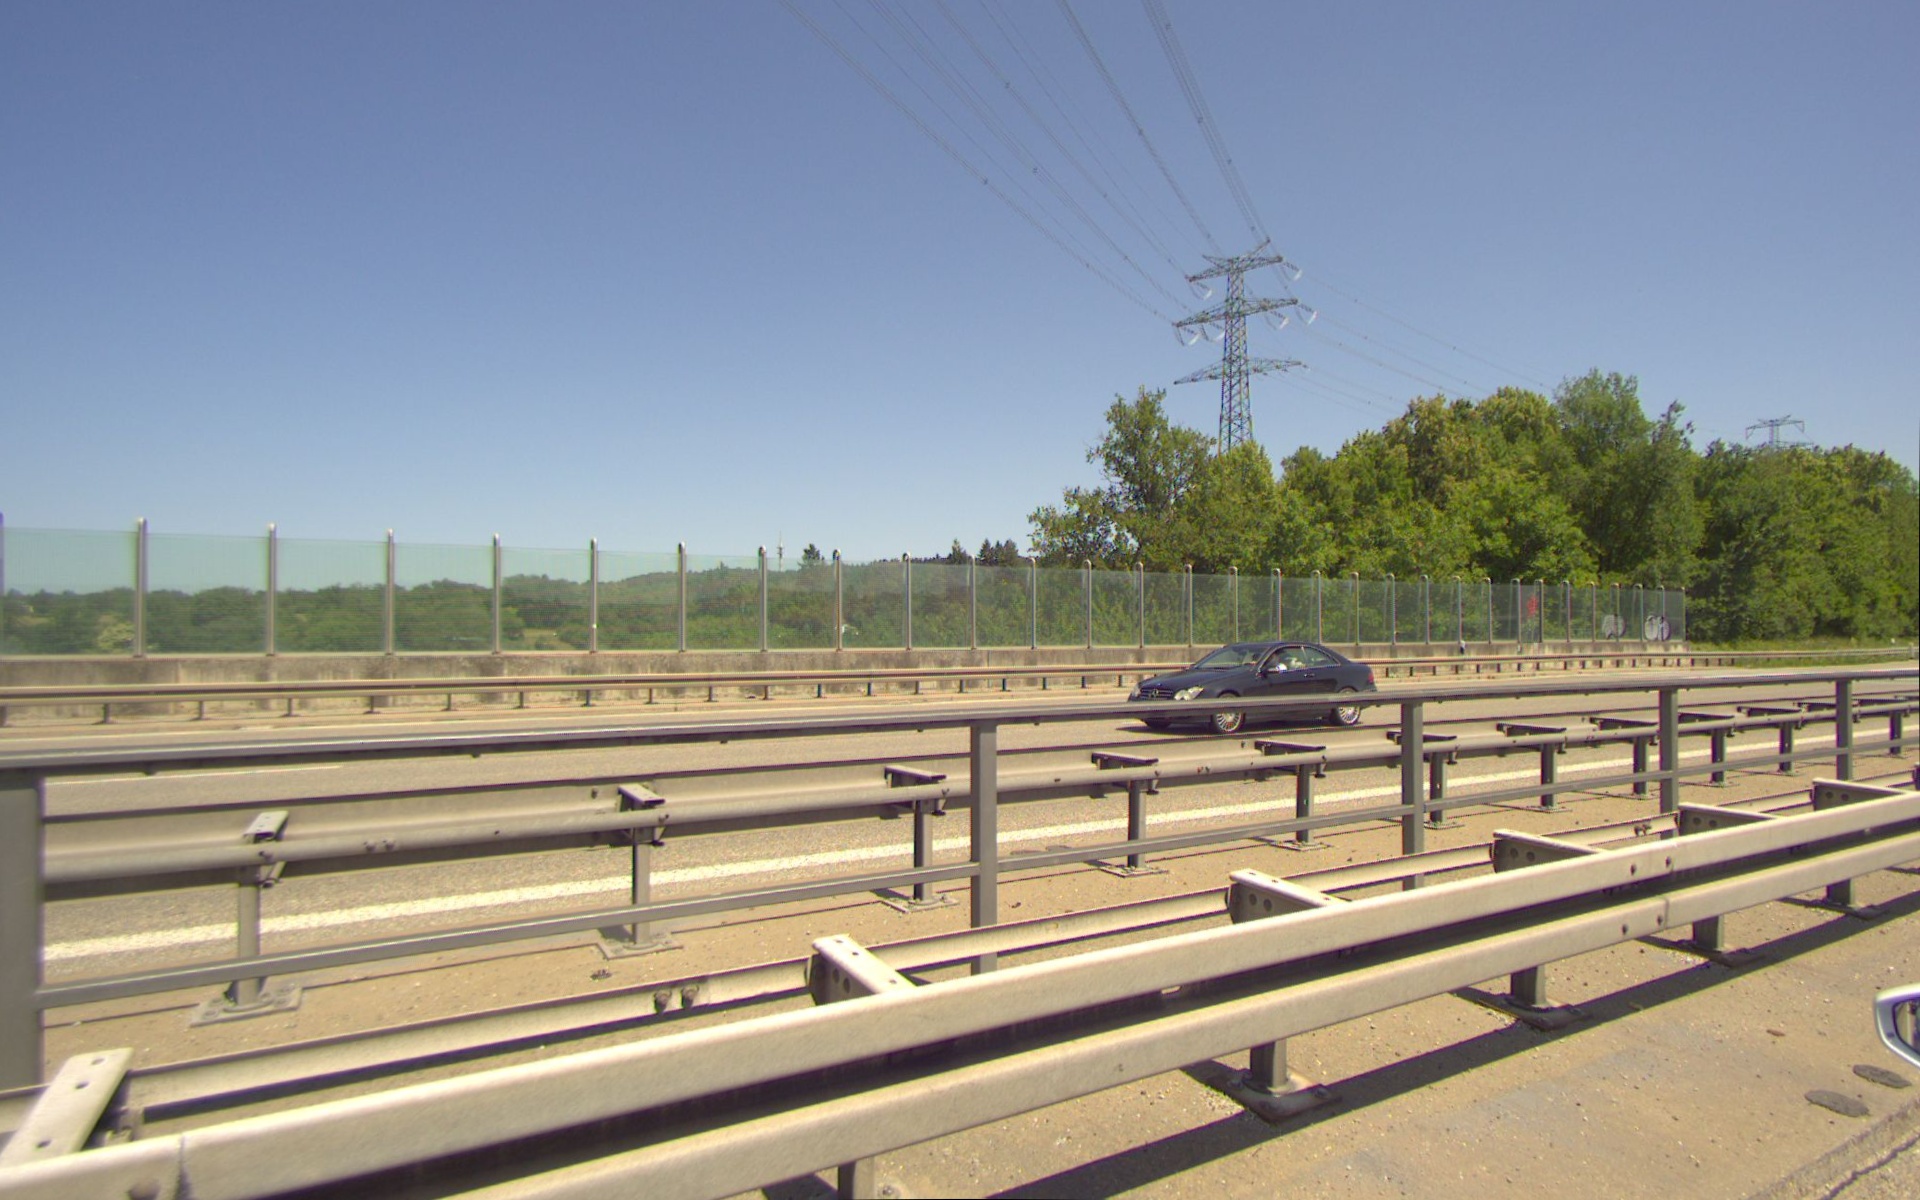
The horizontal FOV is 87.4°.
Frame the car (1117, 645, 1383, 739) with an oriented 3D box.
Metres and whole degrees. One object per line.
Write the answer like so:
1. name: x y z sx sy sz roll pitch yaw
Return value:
1. car: 4.764 1.422 16.358 4.220 1.337 1.753 1 -3 -30
